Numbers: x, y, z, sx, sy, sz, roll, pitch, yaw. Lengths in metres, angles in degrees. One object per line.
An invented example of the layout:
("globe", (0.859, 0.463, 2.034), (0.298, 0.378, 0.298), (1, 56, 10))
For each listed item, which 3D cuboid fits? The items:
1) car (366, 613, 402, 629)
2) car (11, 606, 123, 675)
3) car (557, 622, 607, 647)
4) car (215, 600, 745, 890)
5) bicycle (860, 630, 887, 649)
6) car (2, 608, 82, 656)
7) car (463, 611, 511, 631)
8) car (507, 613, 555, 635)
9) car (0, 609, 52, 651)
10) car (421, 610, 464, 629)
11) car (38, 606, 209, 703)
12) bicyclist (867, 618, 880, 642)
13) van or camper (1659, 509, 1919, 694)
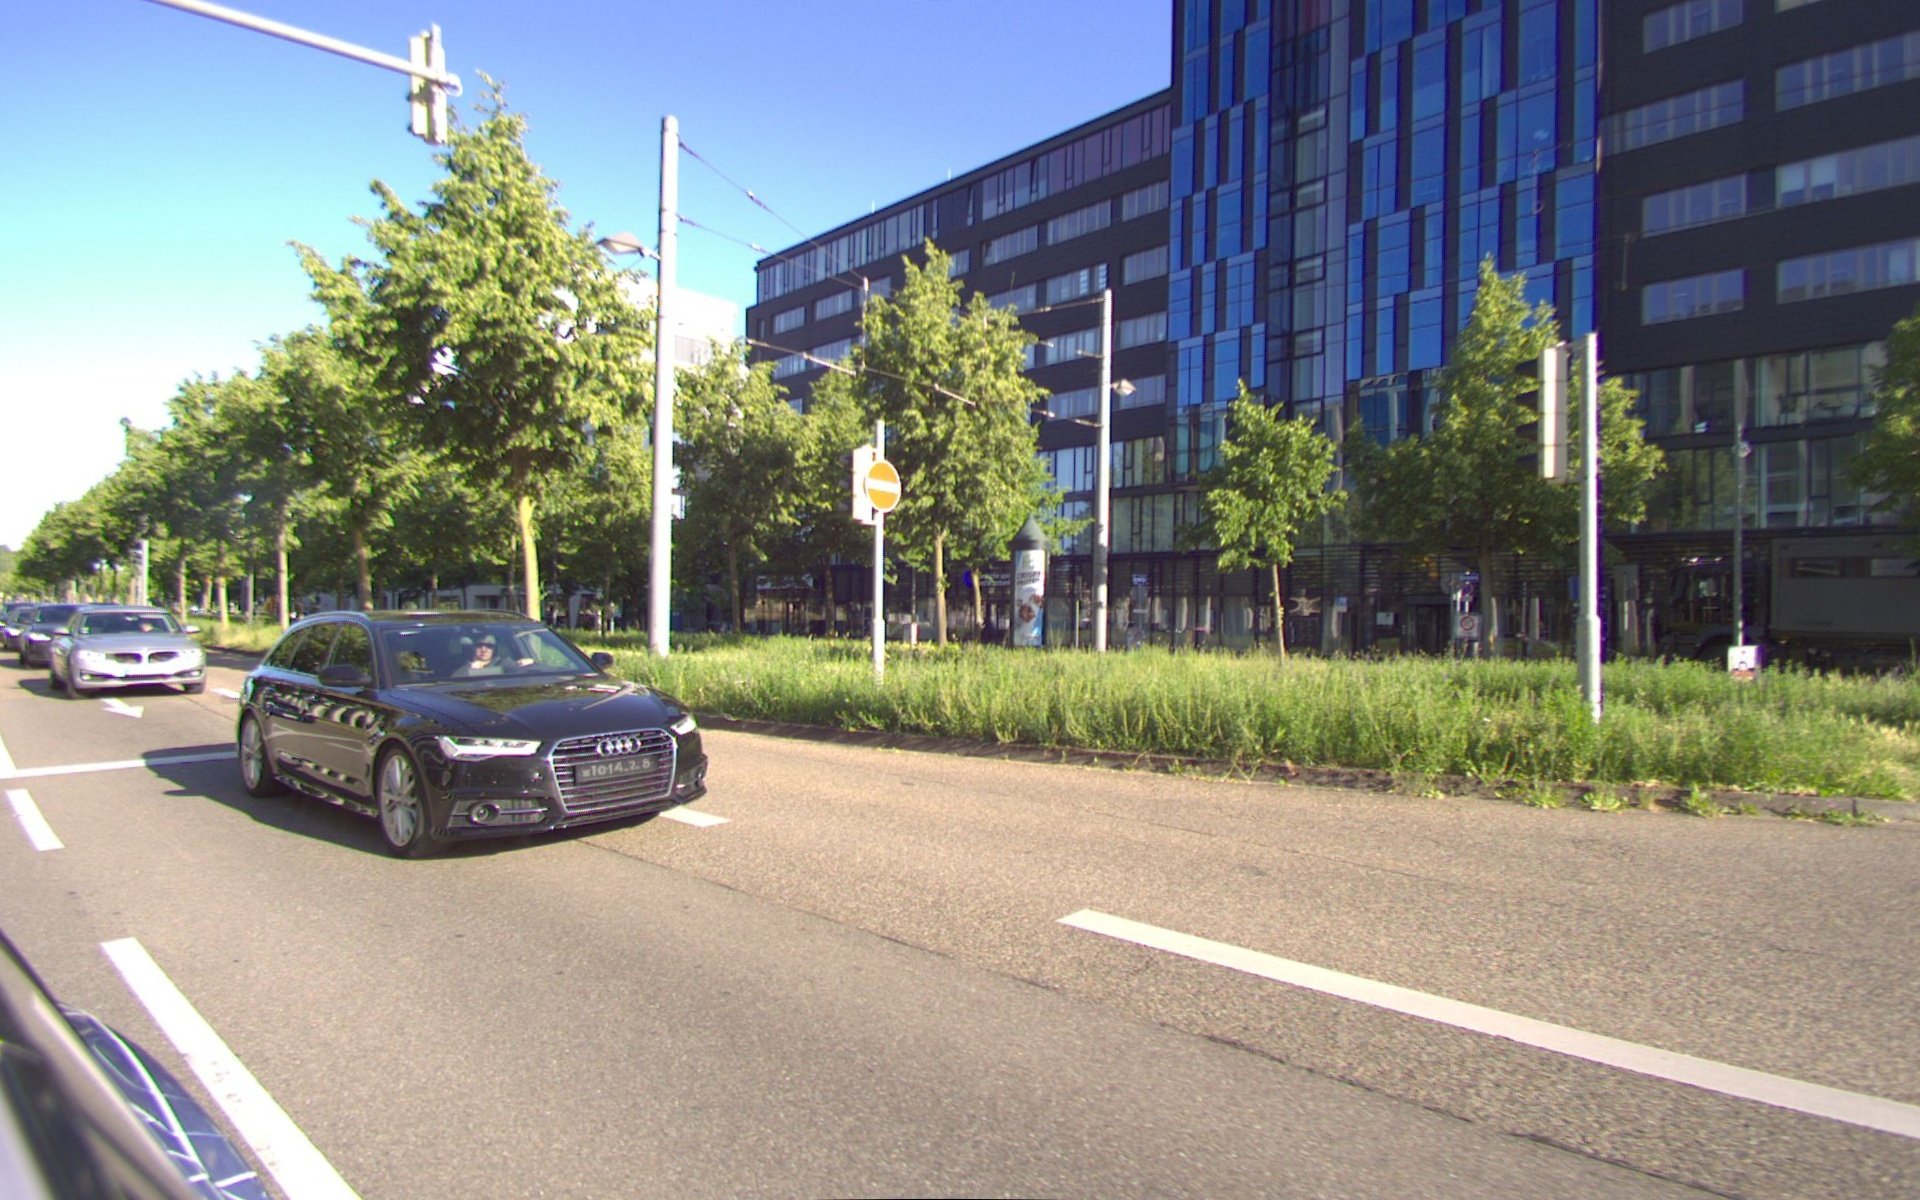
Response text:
("car", (-60.966, 2.205, 107.079), (4.793, 1.711, 1.984), (0, -2, 44))
("car", (-21.798, 0.934, 24.654), (1.787, 1.534, 4.031), (2, -2, -45))
("car", (-27.193, 2.460, 72.796), (1.832, 1.762, 4.002), (2, -2, -45))
("car", (-3.661, 0.751, 7.285), (4.505, 1.468, 1.789), (0, -1, 41))
("bicycle", (-5.108, 2.301, 59.647), (0.521, 1.041, 1.849), (1, 0, -45))
("car", (-30.081, 1.003, 33.118), (1.787, 1.465, 4.257), (2, -2, -44))
("car", (-41.001, 1.828, 87.668), (4.790, 1.711, 1.985), (0, -2, 42))
("car", (-34.068, 1.865, 80.264), (1.832, 1.697, 4.795), (2, -2, -45))
("car", (-38.498, 1.200, 41.434), (1.787, 1.602, 4.168), (2, -2, -44))
("car", (-48.509, 1.795, 94.785), (4.790, 1.711, 1.985), (0, -2, 42))
("car", (-14.812, 0.866, 17.817), (4.744, 1.500, 1.788), (0, -2, 44))
("bicyclist", (-5.114, 1.755, 59.644), (0.486, 1.416, 0.626), (1, 0, -45))
("van or camper", (22.993, 0.052, 24.042), (2.721, 4.224, 10.236), (2, -1, -45))
